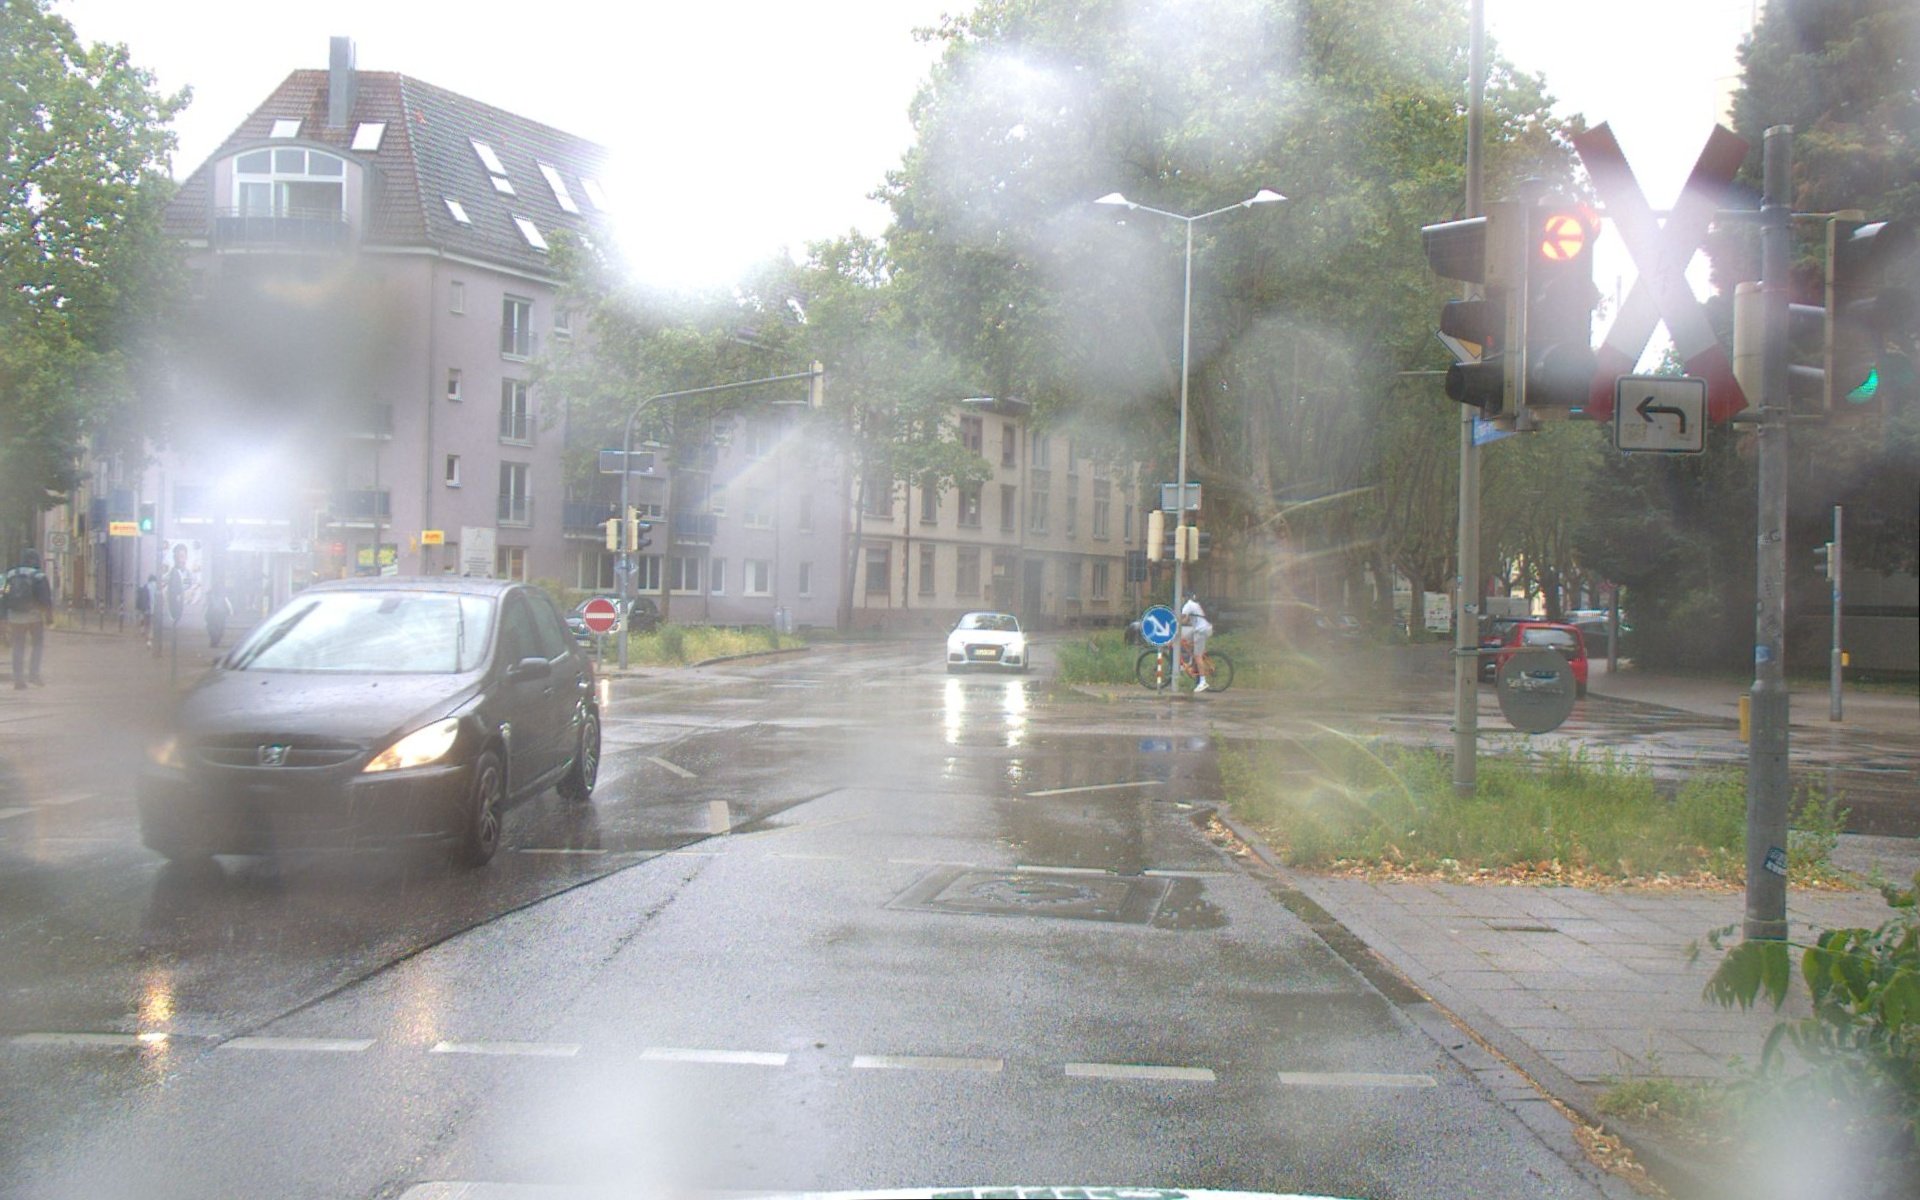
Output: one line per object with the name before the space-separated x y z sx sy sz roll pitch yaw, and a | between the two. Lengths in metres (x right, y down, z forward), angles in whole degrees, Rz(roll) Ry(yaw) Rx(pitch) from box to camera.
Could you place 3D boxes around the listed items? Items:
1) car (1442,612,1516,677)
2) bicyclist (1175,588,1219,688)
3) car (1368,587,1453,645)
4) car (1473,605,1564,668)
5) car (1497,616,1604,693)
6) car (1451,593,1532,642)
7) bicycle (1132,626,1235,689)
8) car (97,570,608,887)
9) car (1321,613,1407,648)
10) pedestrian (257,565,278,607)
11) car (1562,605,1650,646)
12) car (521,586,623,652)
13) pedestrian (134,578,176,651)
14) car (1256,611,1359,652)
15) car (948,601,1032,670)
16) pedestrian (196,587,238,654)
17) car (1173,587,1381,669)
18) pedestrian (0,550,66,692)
car | 14.980 1.251 47.904 1.745 1.757 4.003 1 0 13
bicyclist | 4.354 0.692 30.415 0.778 1.817 0.697 1 -1 7
car | 23.944 0.844 88.065 2.005 2.999 4.742 1 0 -21
car | 13.888 0.874 41.301 1.745 1.371 3.932 2 1 13
car | 13.043 1.160 36.731 1.754 1.524 4.003 1 0 13
car | 33.658 1.082 104.809 1.974 2.999 4.720 1 0 -31
bicycle | 4.110 1.047 30.439 1.833 1.100 0.657 1 0 7
car | -3.288 0.621 9.755 1.679 1.485 3.747 1 0 -1
car | 19.251 1.438 78.922 3.902 1.574 2.002 1 0 12
pedestrian | -22.682 -0.454 54.158 0.550 1.353 0.443 1 -1 -16
car | 32.837 1.297 84.099 3.777 1.995 1.872 1 0 4
car | -9.634 0.440 41.339 1.716 1.538 3.838 1 0 -2
pedestrian | -18.285 0.327 37.571 0.662 1.628 0.964 1 -1 -16
car | 13.782 1.231 65.661 3.902 1.512 2.002 1 0 12
car | 0.720 0.793 39.096 1.845 1.461 4.001 1 0 1
pedestrian | -17.656 0.492 39.319 0.736 1.560 0.789 1 -1 -12
car | 6.278 0.532 32.787 3.902 1.512 2.002 1 0 12
pedestrian | -12.611 0.285 22.418 0.777 1.888 0.676 1 0 -25
